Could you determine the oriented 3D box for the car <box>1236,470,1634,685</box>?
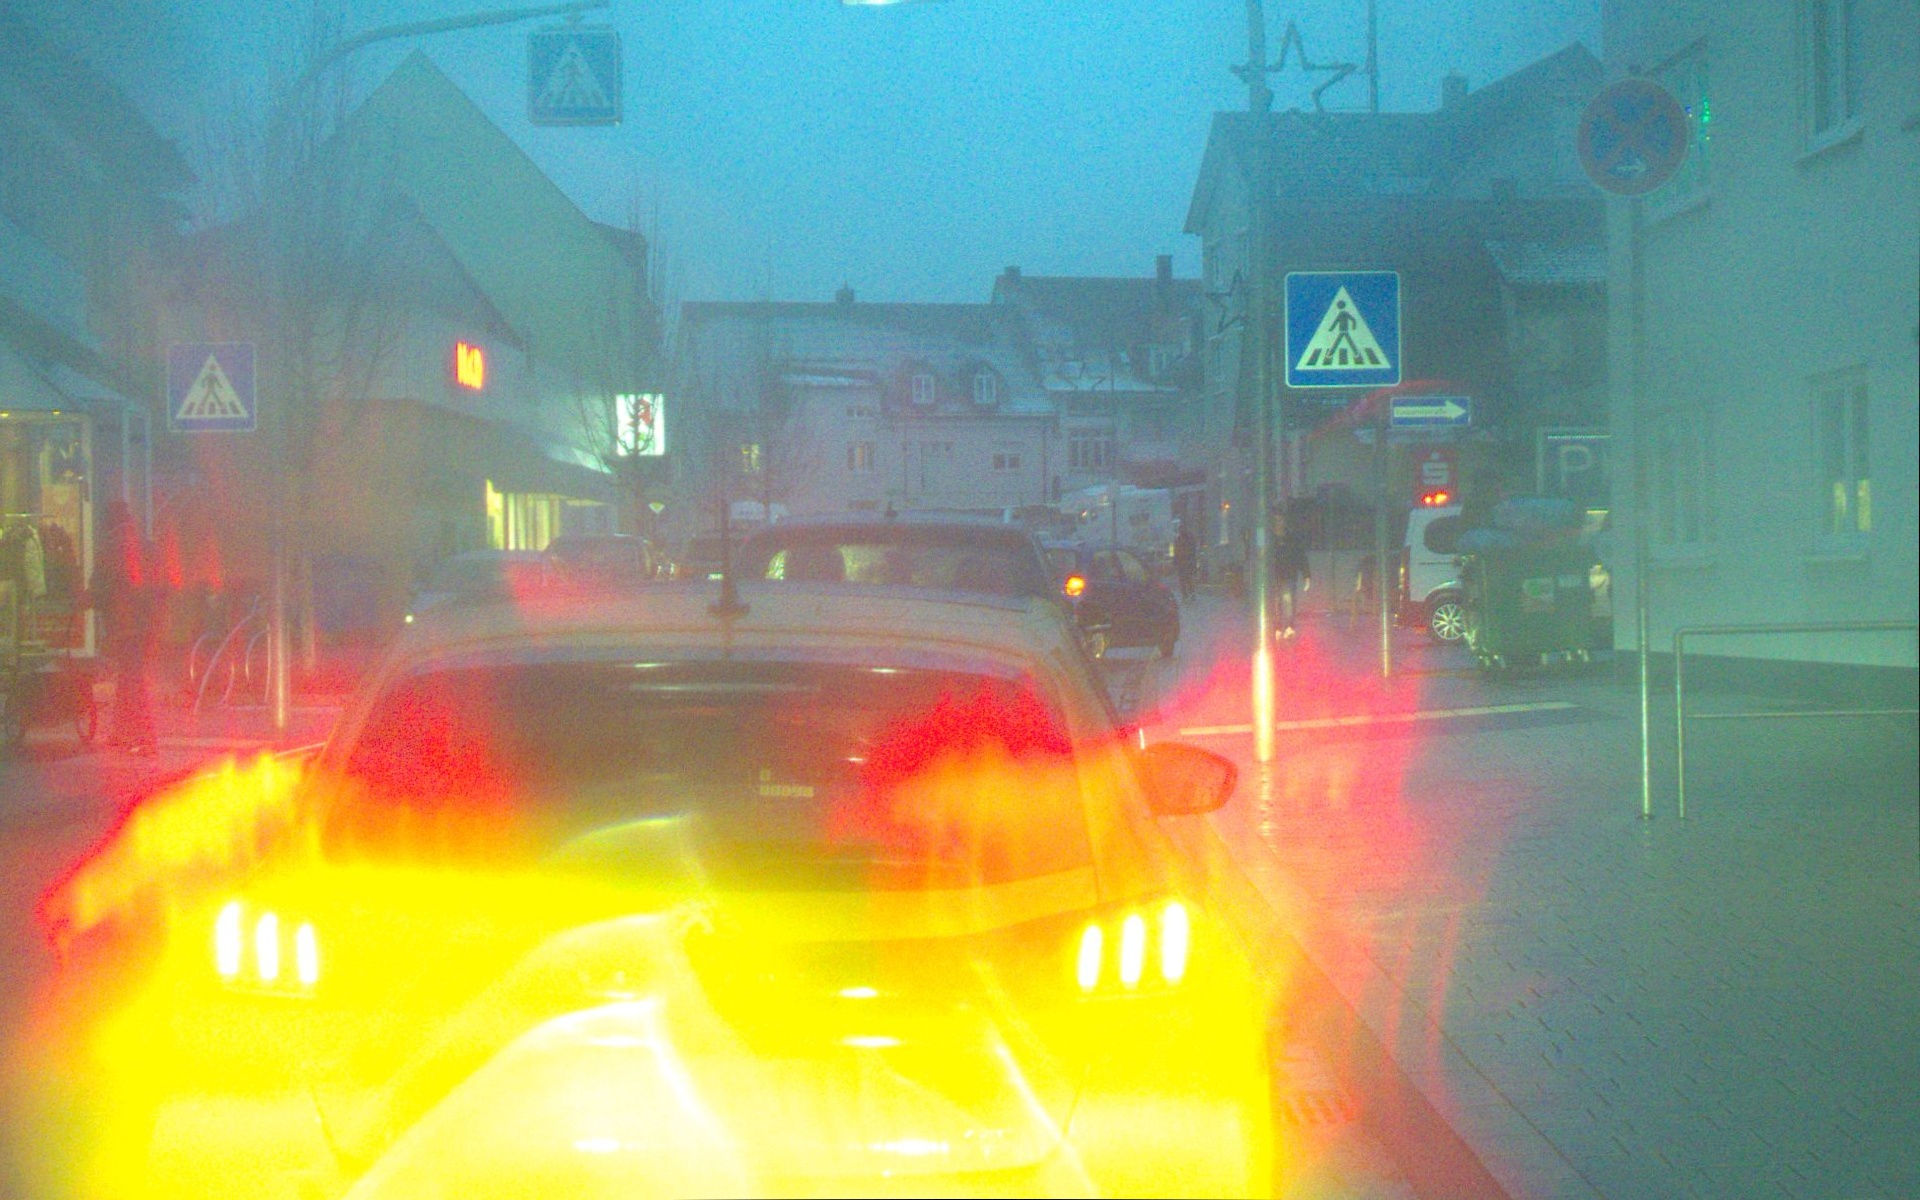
[{"bbox_3d":[4.581,-0.219,33.579,3.697,2.007,1.689,1,0,3],"label":"car"}]

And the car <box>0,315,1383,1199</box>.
[{"bbox_3d":[-0.366,0.481,6.718,1.994,1.789,4.648,0,1,2],"label":"car"}]

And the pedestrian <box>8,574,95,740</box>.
[{"bbox_3d":[-6.816,0.424,25.806,0.553,1.229,0.434,0,1,-4],"label":"pedestrian"}]

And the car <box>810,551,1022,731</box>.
[{"bbox_3d":[-0.349,0.331,32.796,1.827,1.596,4.581,0,1,2],"label":"car"}]

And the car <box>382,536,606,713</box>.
[{"bbox_3d":[-5.521,0.248,41.229,1.993,2.007,4.361,0,1,1],"label":"car"}]

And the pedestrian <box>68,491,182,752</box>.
[{"bbox_3d":[-6.082,0.150,25.065,0.703,1.870,0.617,1,1,-6],"label":"pedestrian"}]

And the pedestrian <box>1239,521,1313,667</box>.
[{"bbox_3d":[4.401,-0.096,47.922,1.016,2.007,1.275,0,1,5],"label":"pedestrian"}]

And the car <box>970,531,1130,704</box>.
[{"bbox_3d":[1.081,0.162,42.924,1.641,2.007,4.001,-2,1,-3],"label":"car"}]

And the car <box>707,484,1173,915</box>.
[{"bbox_3d":[-0.050,0.371,15.355,1.798,1.656,4.000,1,0,1],"label":"car"}]

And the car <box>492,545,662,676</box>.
[{"bbox_3d":[-5.313,0.105,48.176,1.993,1.746,4.362,0,1,-1],"label":"car"}]
